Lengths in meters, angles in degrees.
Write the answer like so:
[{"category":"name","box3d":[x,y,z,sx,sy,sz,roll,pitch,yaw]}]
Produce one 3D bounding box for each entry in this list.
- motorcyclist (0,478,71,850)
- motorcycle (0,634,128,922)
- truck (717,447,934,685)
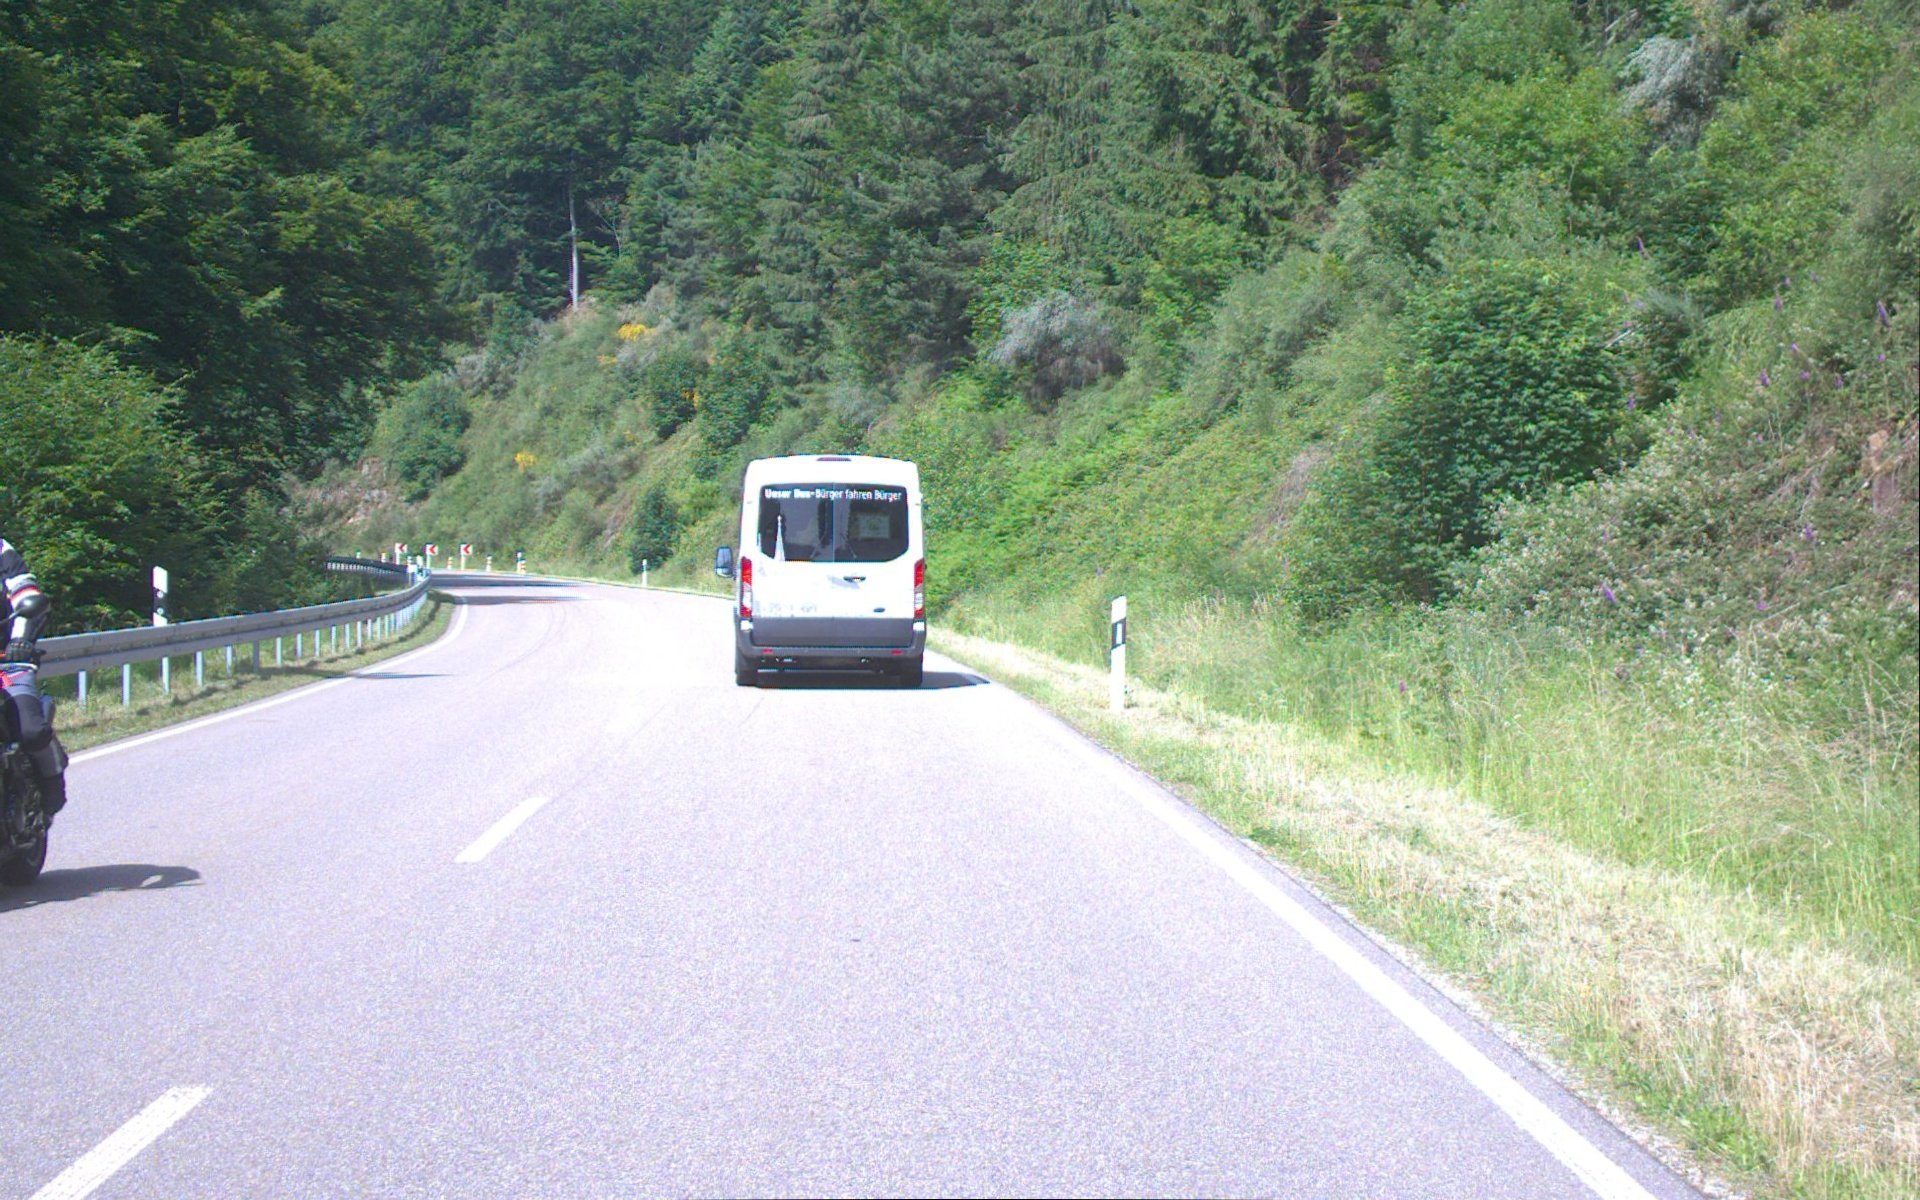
[{"category":"motorcyclist","box3d":[-4.163,0.251,14.400,0.658,1.508,0.934,0,1,-2]},{"category":"motorcycle","box3d":[-4.157,0.704,14.369,0.984,1.068,1.963,0,1,-3]},{"category":"truck","box3d":[-1.564,-0.398,38.146,2.083,2.451,4.876,1,1,-6]}]
